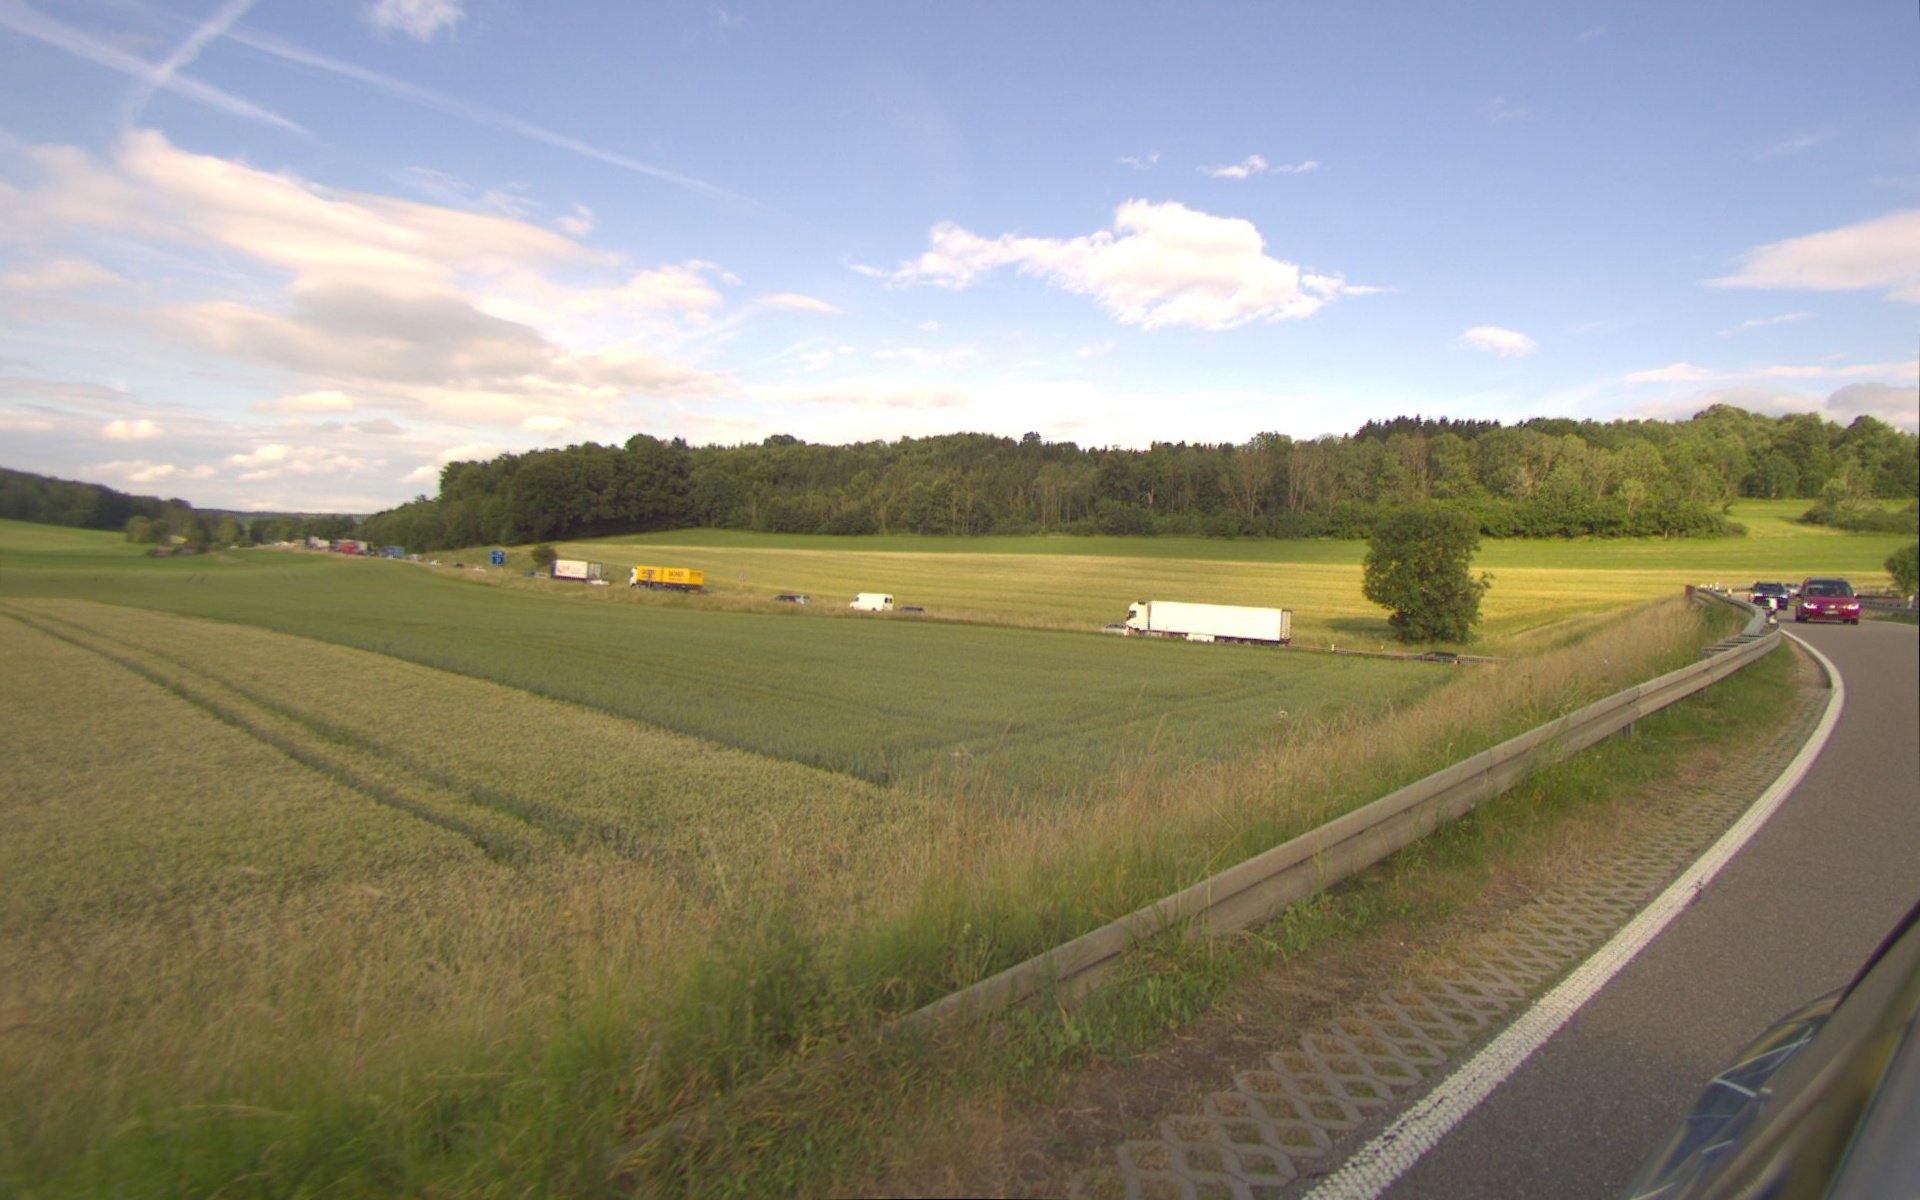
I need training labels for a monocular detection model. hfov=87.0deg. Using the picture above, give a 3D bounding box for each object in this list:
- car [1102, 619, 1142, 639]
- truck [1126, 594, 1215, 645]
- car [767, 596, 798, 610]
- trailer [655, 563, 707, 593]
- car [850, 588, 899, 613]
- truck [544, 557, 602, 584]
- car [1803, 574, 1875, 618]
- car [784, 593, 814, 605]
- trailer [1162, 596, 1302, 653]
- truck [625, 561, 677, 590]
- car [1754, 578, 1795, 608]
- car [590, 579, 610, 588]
[{"bbox_3d":[15.656,2.809,97.978,3.448,1.662,1.740,0,4,38],"label":"car"},{"bbox_3d":[20.974,1.873,101.094,8.017,4.524,2.987,4,1,39],"label":"truck"},{"bbox_3d":[-22.871,0.386,130.202,3.980,1.538,1.660,3,2,39],"label":"car"},{"bbox_3d":[-43.532,-3.520,157.823,9.103,4.108,3.779,4,6,44],"label":"trailer"},{"bbox_3d":[-10.814,0.036,127.603,6.096,2.617,2.339,5,0,39],"label":"car"},{"bbox_3d":[-70.694,-5.535,184.443,14.383,4.042,4.019,5,8,44],"label":"truck"},{"bbox_3d":[35.217,-0.180,40.622,1.812,1.675,3.948,2,1,36],"label":"car"},{"bbox_3d":[-21.899,-0.159,137.840,3.982,1.487,1.777,3,1,40],"label":"car"},{"bbox_3d":[25.943,2.223,97.102,12.666,4.524,2.990,4,1,39],"label":"trailer"},{"bbox_3d":[-50.258,-4.035,164.315,9.773,4.108,3.779,4,6,44],"label":"truck"},{"bbox_3d":[50.906,-0.465,63.302,1.814,1.630,3.946,5,6,38],"label":"car"},{"bbox_3d":[-58.527,-2.646,164.330,3.311,1.411,1.586,3,2,39],"label":"car"}]
